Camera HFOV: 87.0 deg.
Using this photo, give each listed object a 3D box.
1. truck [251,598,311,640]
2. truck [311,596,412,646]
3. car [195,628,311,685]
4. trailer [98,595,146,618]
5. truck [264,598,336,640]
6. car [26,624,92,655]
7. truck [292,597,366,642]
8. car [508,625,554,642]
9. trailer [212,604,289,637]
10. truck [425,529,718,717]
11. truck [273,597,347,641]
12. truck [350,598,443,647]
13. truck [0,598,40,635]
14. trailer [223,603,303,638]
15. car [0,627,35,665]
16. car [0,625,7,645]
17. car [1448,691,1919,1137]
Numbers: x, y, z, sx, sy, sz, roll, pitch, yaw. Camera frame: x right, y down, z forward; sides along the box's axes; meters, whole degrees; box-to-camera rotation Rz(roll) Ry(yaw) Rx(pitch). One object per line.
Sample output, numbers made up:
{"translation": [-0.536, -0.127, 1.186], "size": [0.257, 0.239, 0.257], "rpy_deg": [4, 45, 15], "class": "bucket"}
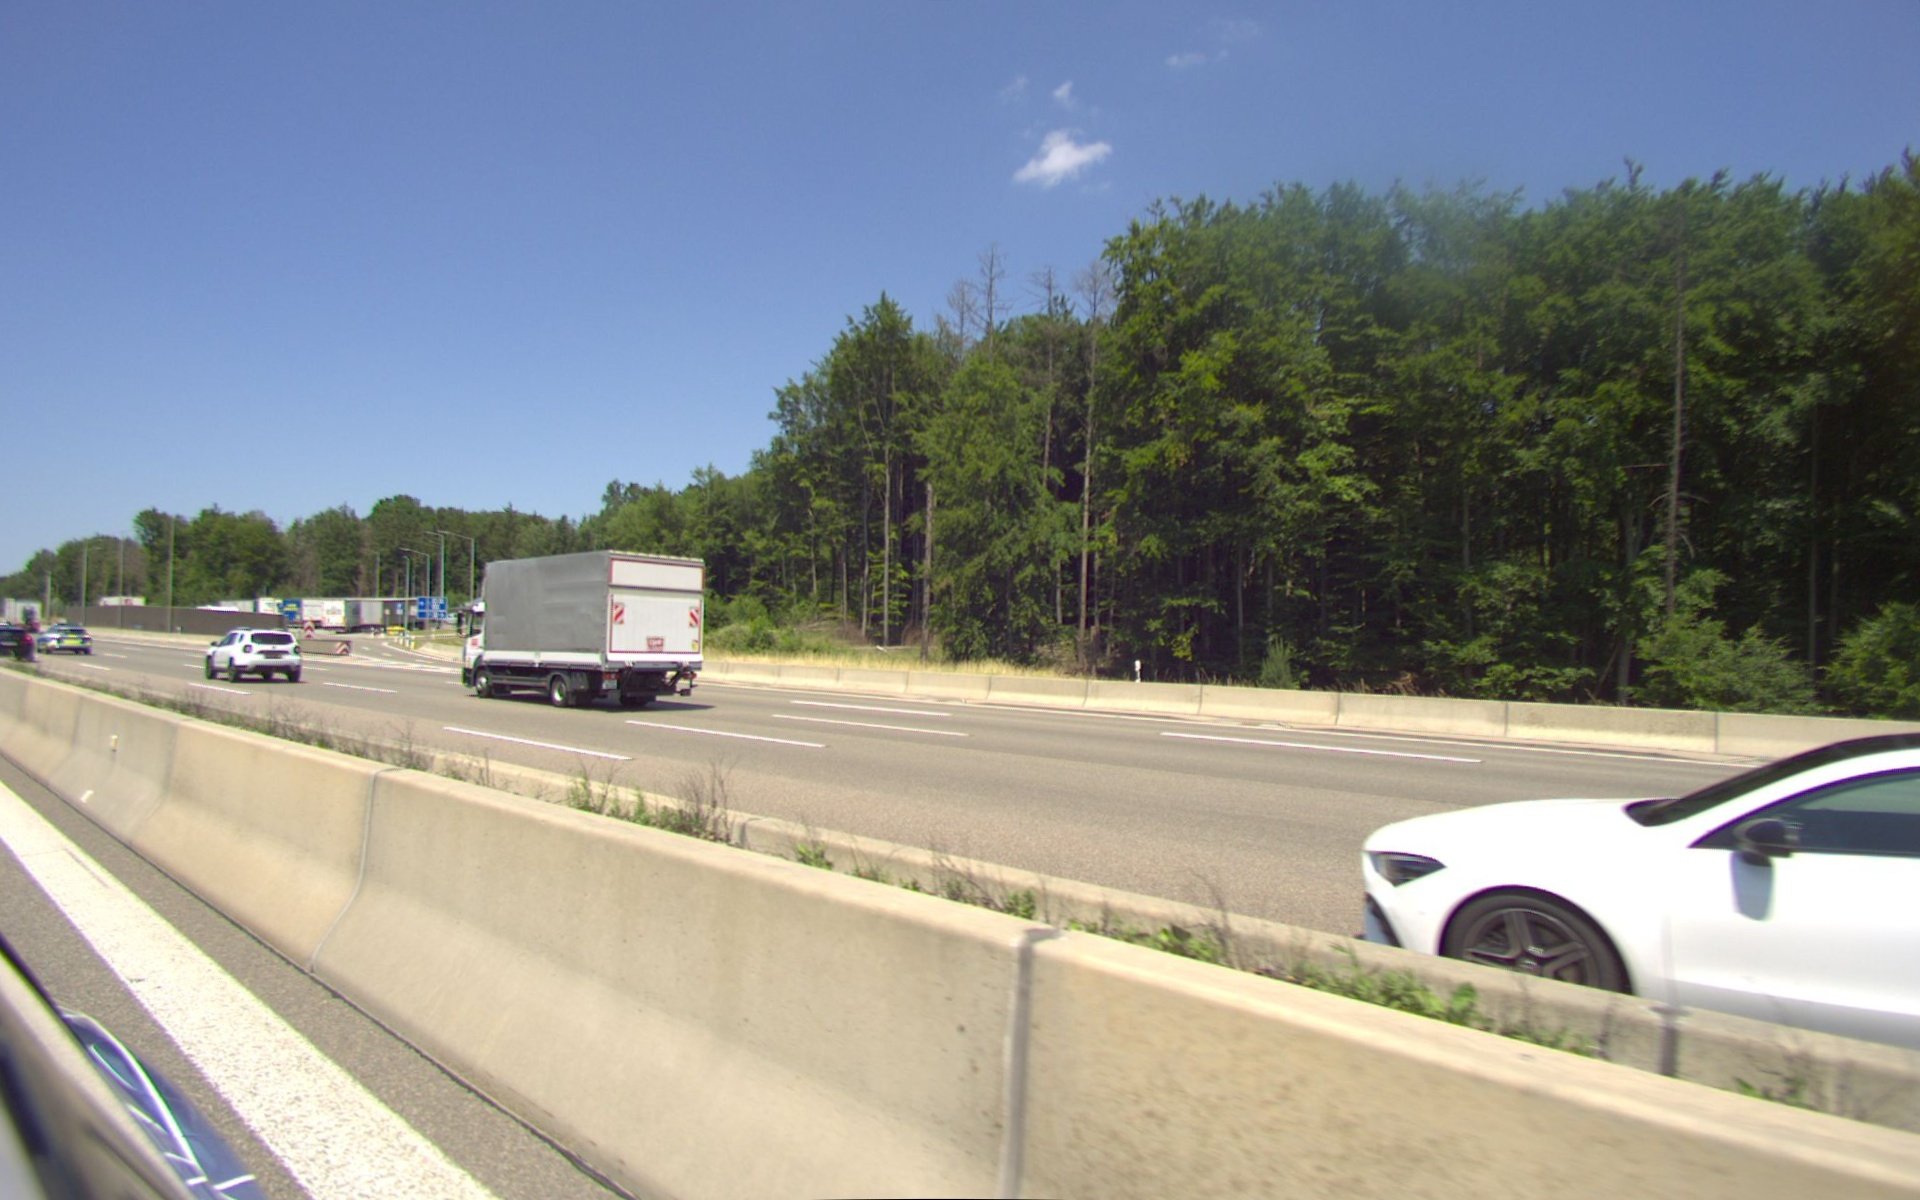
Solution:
{"translation": [-94.925, 2.686, 141.677], "size": [3.179, 5.655, 8.497], "rpy_deg": [1, -2, -5], "class": "truck"}
{"translation": [-72.767, 2.727, 123.700], "size": [3.399, 5.655, 16.725], "rpy_deg": [1, -2, -4], "class": "truck"}
{"translation": [-22.665, 1.770, 32.373], "size": [4.686, 1.674, 1.893], "rpy_deg": [-1, -4, 41], "class": "car"}
{"translation": [-121.087, 0.950, 146.151], "size": [14.602, 3.148, 2.941], "rpy_deg": [-1, -3, 41], "class": "trailer"}
{"translation": [-91.444, 2.716, 140.591], "size": [3.179, 5.655, 11.549], "rpy_deg": [1, -2, -5], "class": "truck"}
{"translation": [-47.848, 2.066, 53.725], "size": [5.229, 1.524, 1.893], "rpy_deg": [-1, -4, 41], "class": "car"}
{"translation": [-84.134, 2.674, 135.344], "size": [3.317, 5.655, 11.549], "rpy_deg": [1, -2, -5], "class": "truck"}
{"translation": [-51.049, 3.995, 120.402], "size": [4.663, 2.029, 2.091], "rpy_deg": [2, -3, -35], "class": "car"}
{"translation": [-114.067, 3.381, 163.073], "size": [3.082, 5.111, 14.580], "rpy_deg": [1, -2, -5], "class": "trailer"}
{"translation": [-10.223, 0.589, 25.890], "size": [9.463, 4.043, 2.828], "rpy_deg": [-1, -3, 41], "class": "truck"}
{"translation": [-87.576, 2.646, 136.645], "size": [3.179, 5.655, 11.549], "rpy_deg": [1, -2, -5], "class": "truck"}
{"translation": [-69.319, 2.869, 125.196], "size": [3.175, 5.655, 16.725], "rpy_deg": [1, -2, -4], "class": "truck"}
{"translation": [-113.686, 1.999, 122.063], "size": [10.591, 4.229, 2.805], "rpy_deg": [-1, -3, 41], "class": "truck"}
{"translation": [-106.339, 3.227, 154.817], "size": [3.175, 5.111, 14.580], "rpy_deg": [1, -2, -5], "class": "trailer"}
{"translation": [-39.828, 1.871, 41.754], "size": [4.361, 1.475, 1.893], "rpy_deg": [0, -2, 41], "class": "car"}
{"translation": [-72.572, 2.585, 75.434], "size": [4.837, 1.475, 1.742], "rpy_deg": [-1, -3, 41], "class": "car"}
{"translation": [4.424, 1.157, 3.711], "size": [4.460, 1.405, 1.806], "rpy_deg": [-1, -3, 39], "class": "car"}
